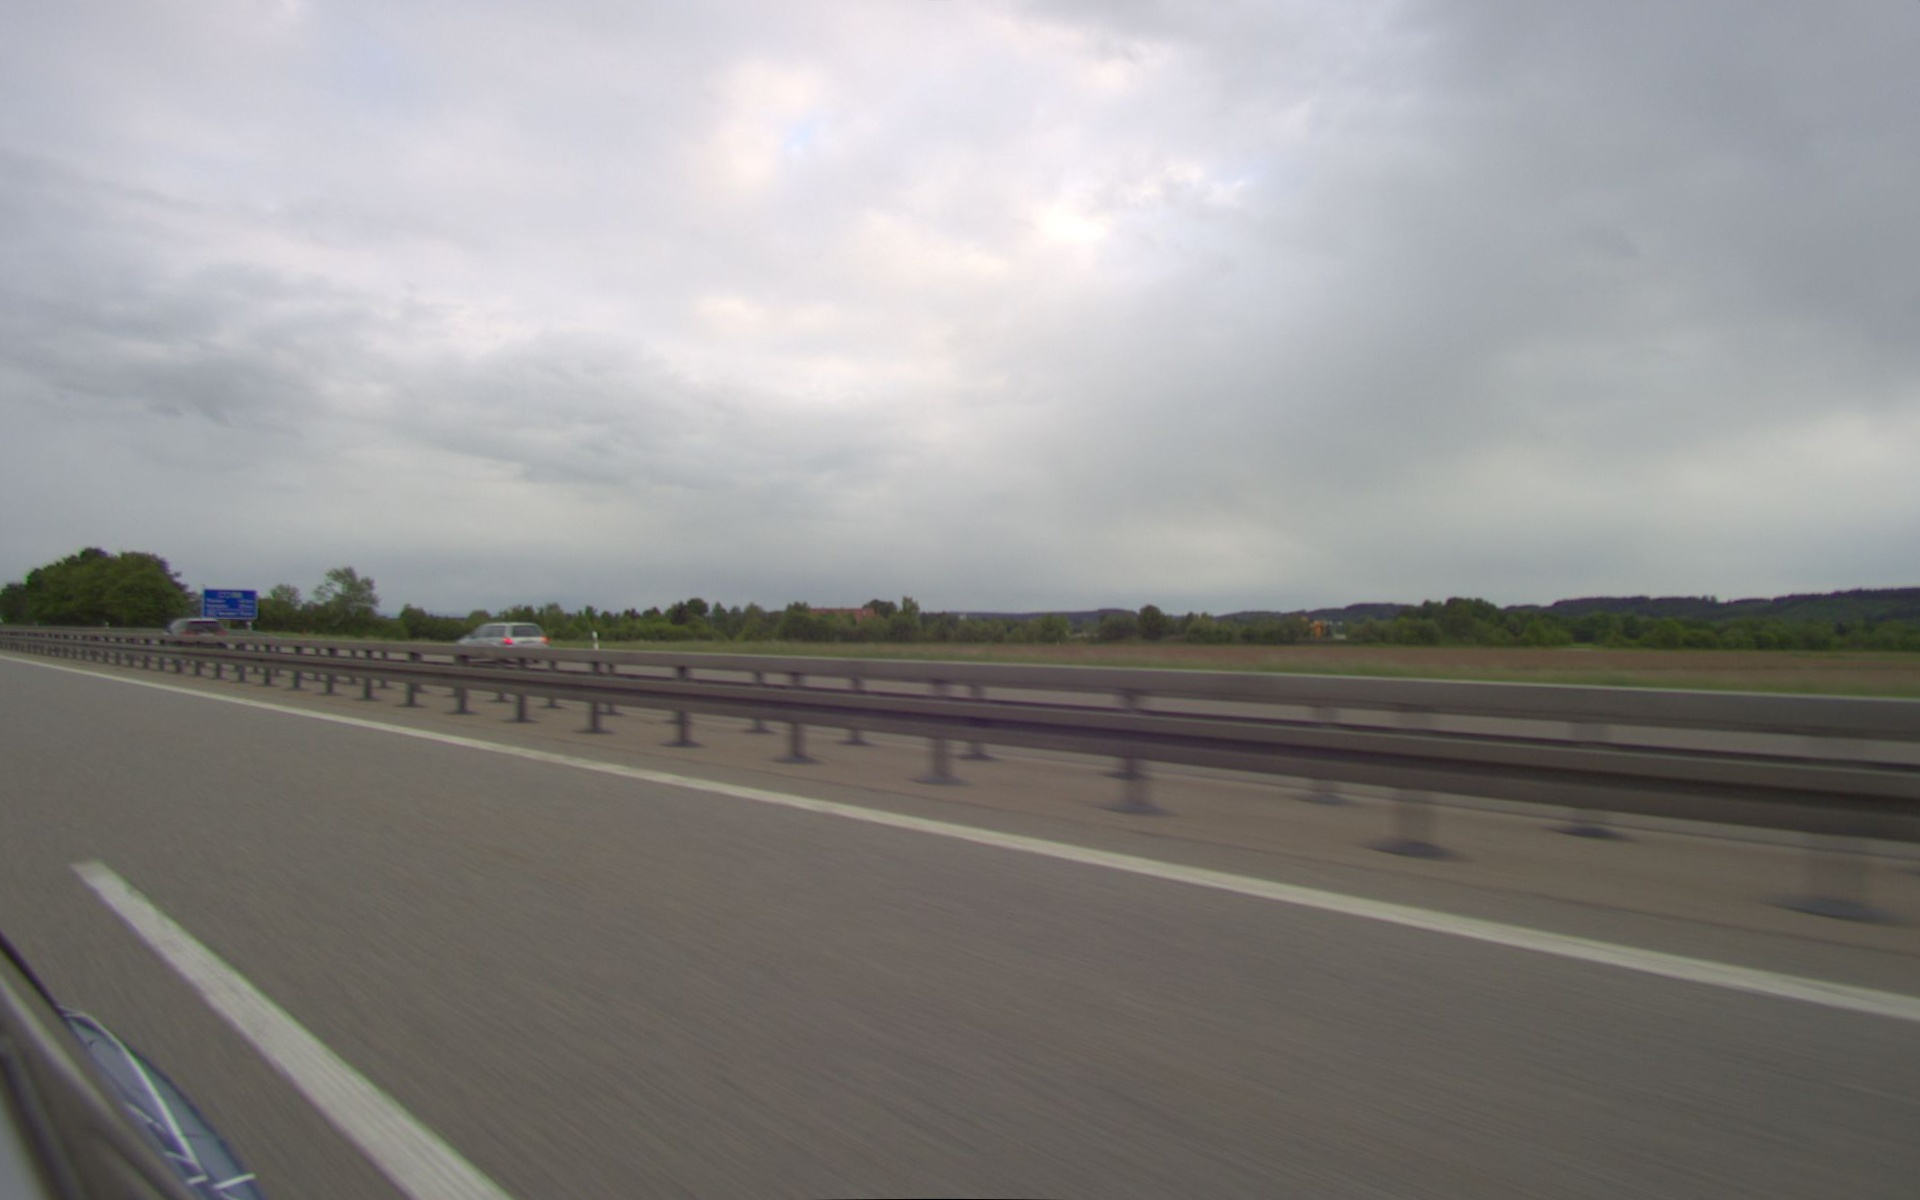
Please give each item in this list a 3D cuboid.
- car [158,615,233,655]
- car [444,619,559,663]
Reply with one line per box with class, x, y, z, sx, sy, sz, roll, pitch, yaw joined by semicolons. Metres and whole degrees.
car;-36.075;1.613;47.722;4.299;1.713;1.973;-1;0;41
car;-16.809;1.438;36.995;4.759;1.507;1.973;-1;-1;40
